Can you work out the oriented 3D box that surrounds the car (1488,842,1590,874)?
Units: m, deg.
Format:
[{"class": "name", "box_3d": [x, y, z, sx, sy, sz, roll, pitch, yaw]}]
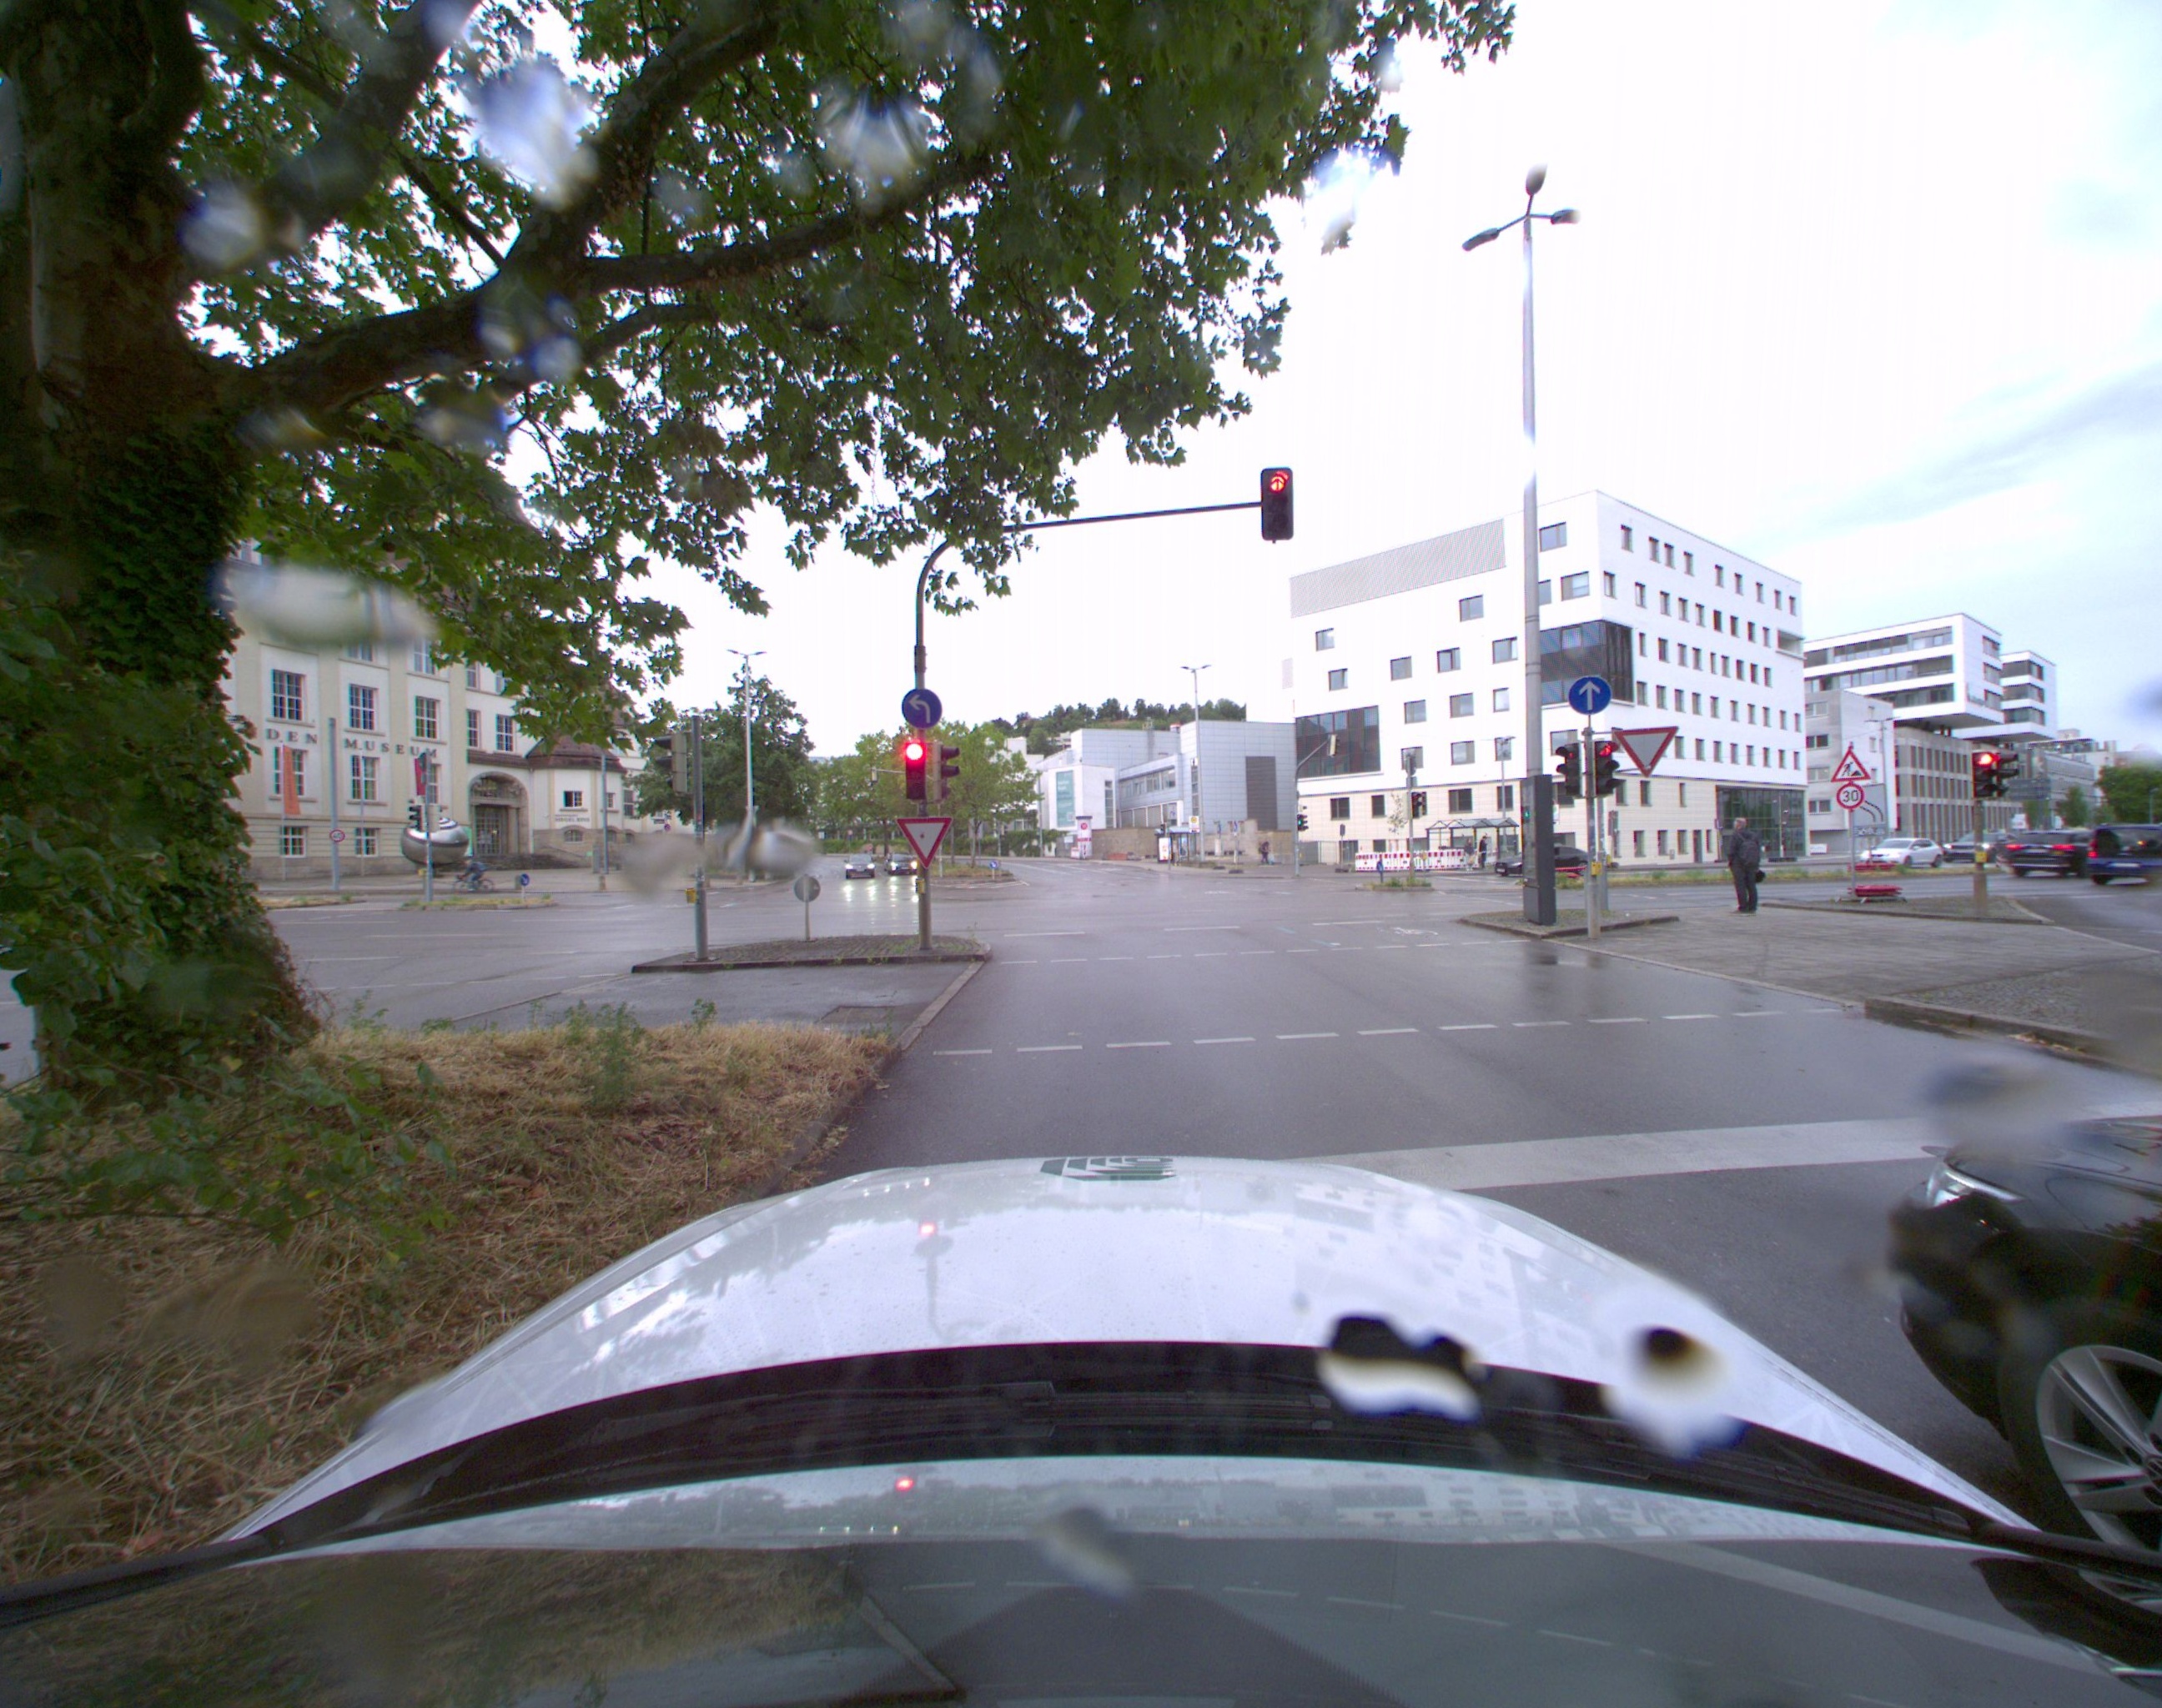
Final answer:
[{"class": "car", "box_3d": [21.208, 0.176, 37.739, 3.991, 1.444, 1.790, 0, 0, -13]}]

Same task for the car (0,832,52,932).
[{"class": "car", "box_3d": [-30.103, 0.738, 20.825, 5.980, 2.494, 2.072, -1, 1, 10]}]

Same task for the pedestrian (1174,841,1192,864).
[{"class": "pedestrian", "box_3d": [7.711, -0.097, 61.641, 1.253, 1.719, 1.016, 0, -1, 0]}]

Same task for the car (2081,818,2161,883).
[{"class": "car", "box_3d": [33.364, -0.154, 24.961, 4.301, 1.908, 1.789, -1, 1, -14]}]

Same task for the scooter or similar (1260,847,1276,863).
[{"class": "scooter or similar", "box_3d": [14.053, 0.090, 61.225, 0.593, 1.239, 1.305, 1, -1, -19]}]

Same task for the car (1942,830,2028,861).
[{"class": "car", "box_3d": [51.324, -0.501, 46.224, 4.393, 1.664, 1.985, -1, 0, -24]}]

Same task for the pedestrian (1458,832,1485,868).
[{"class": "pedestrian", "box_3d": [20.115, -0.186, 42.002, 0.951, 1.840, 0.821, 0, -1, -10]}]

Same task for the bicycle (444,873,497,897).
[{"class": "bicycle", "box_3d": [-28.020, 1.400, 37.374, 1.818, 1.056, 0.644, -1, -1, -15]}]

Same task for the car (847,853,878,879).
[{"class": "car", "box_3d": [-14.584, 0.770, 54.287, 1.871, 1.564, 4.254, -2, 1, -15]}]

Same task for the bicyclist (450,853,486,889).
[{"class": "bicyclist", "box_3d": [-28.108, 0.786, 37.367, 1.126, 1.633, 0.699, 0, -1, -15]}]

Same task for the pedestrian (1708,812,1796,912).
[{"class": "pedestrian", "box_3d": [13.119, 0.167, 15.946, 0.826, 1.892, 1.025, 0, -1, -7]}]

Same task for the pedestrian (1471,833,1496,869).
[{"class": "pedestrian", "box_3d": [21.734, -0.157, 44.018, 0.995, 1.935, 0.957, 0, -1, 11]}]

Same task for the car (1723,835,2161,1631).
[{"class": "car", "box_3d": [2.810, 0.720, 0.295, 1.664, 1.466, 4.513, -1, 1, 1]}]

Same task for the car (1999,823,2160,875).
[{"class": "car", "box_3d": [35.633, -0.185, 29.094, 4.678, 1.705, 1.790, -1, 1, -14]}]

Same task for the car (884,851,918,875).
[{"class": "car", "box_3d": [-12.897, 0.626, 58.197, 1.795, 1.584, 3.973, -2, 1, -20]}]

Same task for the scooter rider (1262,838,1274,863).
[{"class": "scooter rider", "box_3d": [14.058, -0.232, 61.224, 0.725, 1.883, 0.628, 1, -1, -18]}]

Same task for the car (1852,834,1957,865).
[{"class": "car", "box_3d": [39.895, -0.218, 39.486, 3.991, 1.444, 1.790, 0, 0, -13]}]
